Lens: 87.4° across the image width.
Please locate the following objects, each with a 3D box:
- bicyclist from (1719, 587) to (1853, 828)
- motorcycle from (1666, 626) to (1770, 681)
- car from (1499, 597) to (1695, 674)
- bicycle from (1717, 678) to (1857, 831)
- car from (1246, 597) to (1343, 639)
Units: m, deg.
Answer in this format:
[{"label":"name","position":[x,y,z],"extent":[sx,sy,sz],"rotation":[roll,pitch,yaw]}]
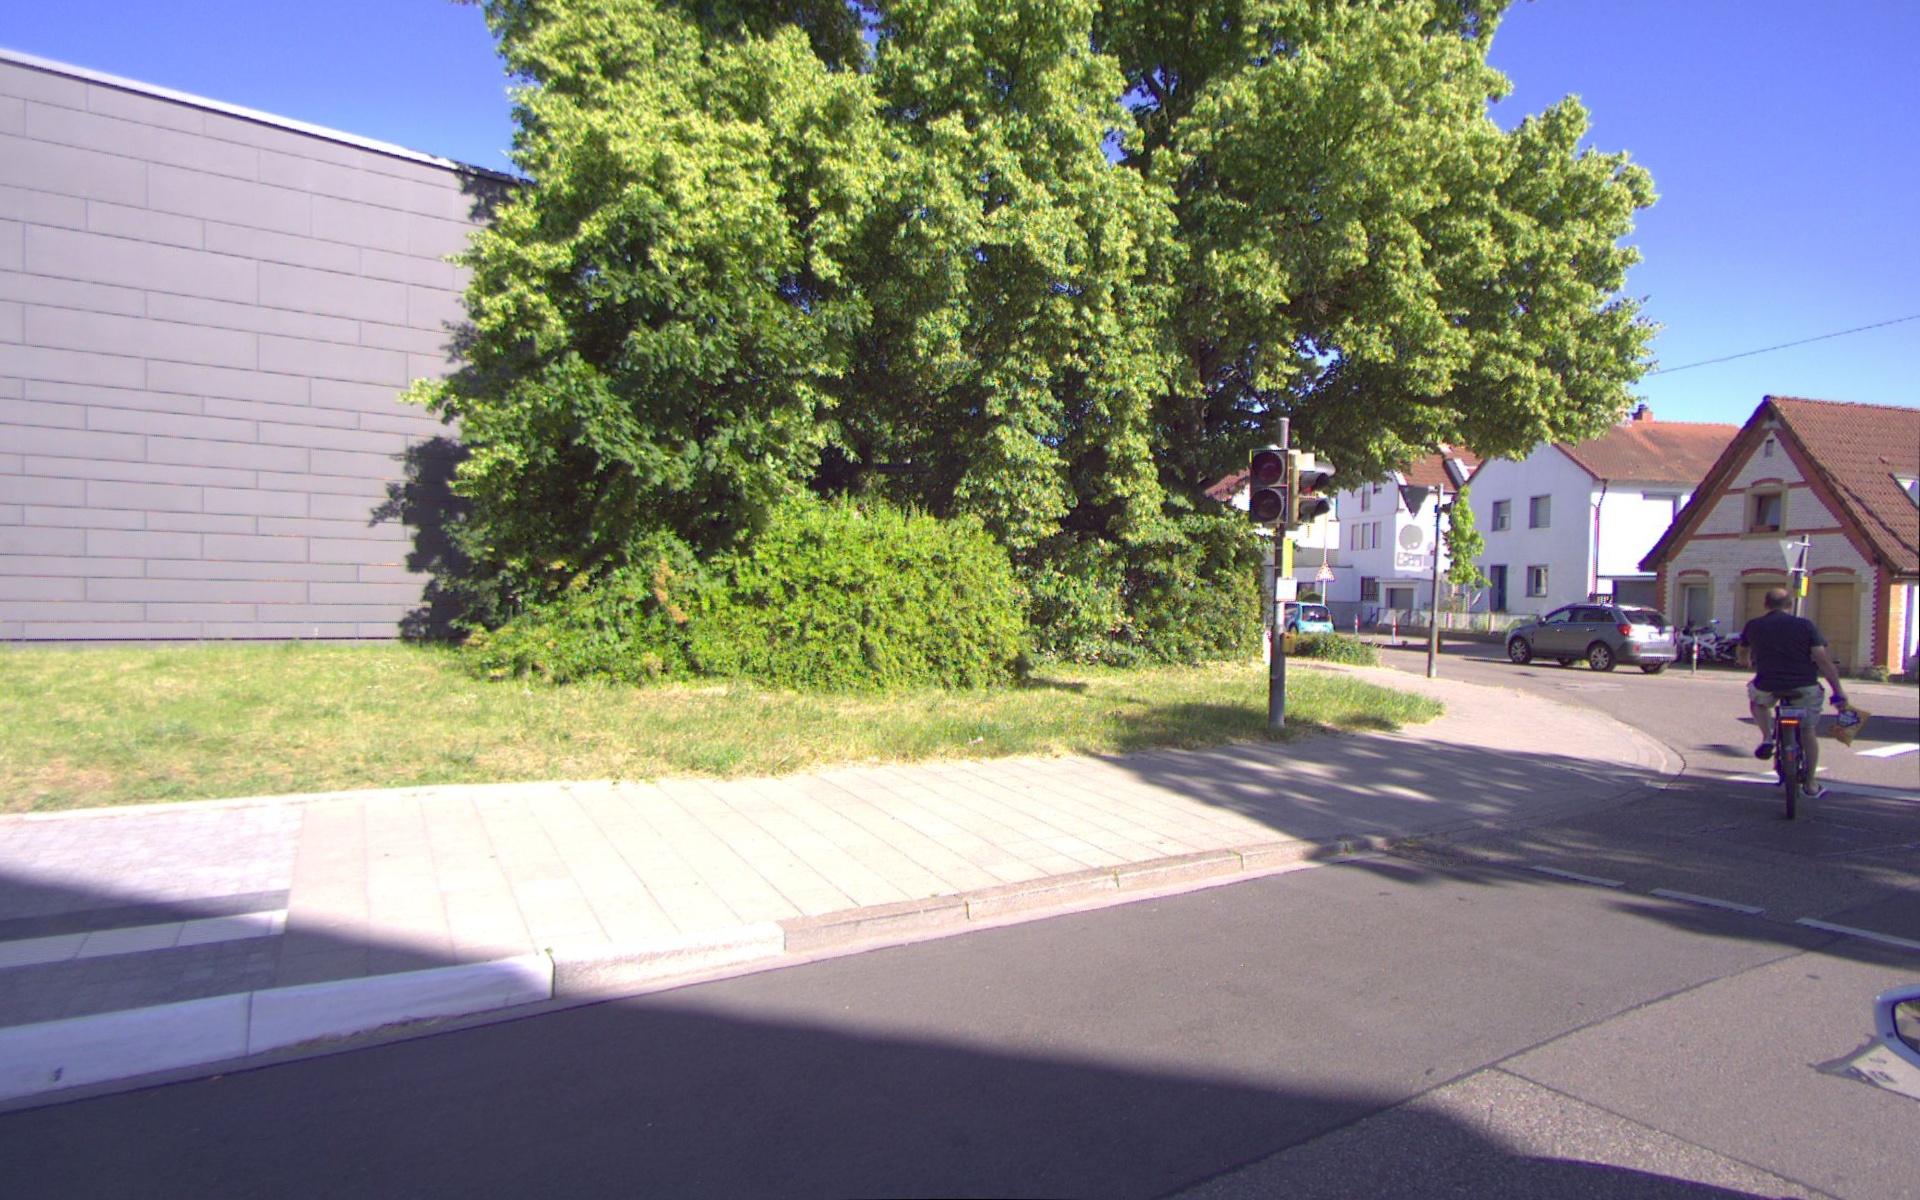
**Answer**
[{"label":"bicyclist","position":[6.689,0.812,8.157],"extent":[0.755,1.813,0.849],"rotation":[2,1,40]},{"label":"motorcycle","position":[20.391,1.413,27.084],"extent":[0.867,1.313,2.245],"rotation":[-1,1,-11]},{"label":"car","position":[16.684,0.876,26.592],"extent":[1.912,1.748,4.224],"rotation":[3,1,-12]},{"label":"bicycle","position":[6.704,1.171,8.170],"extent":[0.765,0.952,2.280],"rotation":[-2,-2,39]},{"label":"car","position":[13.847,0.713,41.859],"extent":[1.912,1.570,4.223],"rotation":[2,1,-13]}]
